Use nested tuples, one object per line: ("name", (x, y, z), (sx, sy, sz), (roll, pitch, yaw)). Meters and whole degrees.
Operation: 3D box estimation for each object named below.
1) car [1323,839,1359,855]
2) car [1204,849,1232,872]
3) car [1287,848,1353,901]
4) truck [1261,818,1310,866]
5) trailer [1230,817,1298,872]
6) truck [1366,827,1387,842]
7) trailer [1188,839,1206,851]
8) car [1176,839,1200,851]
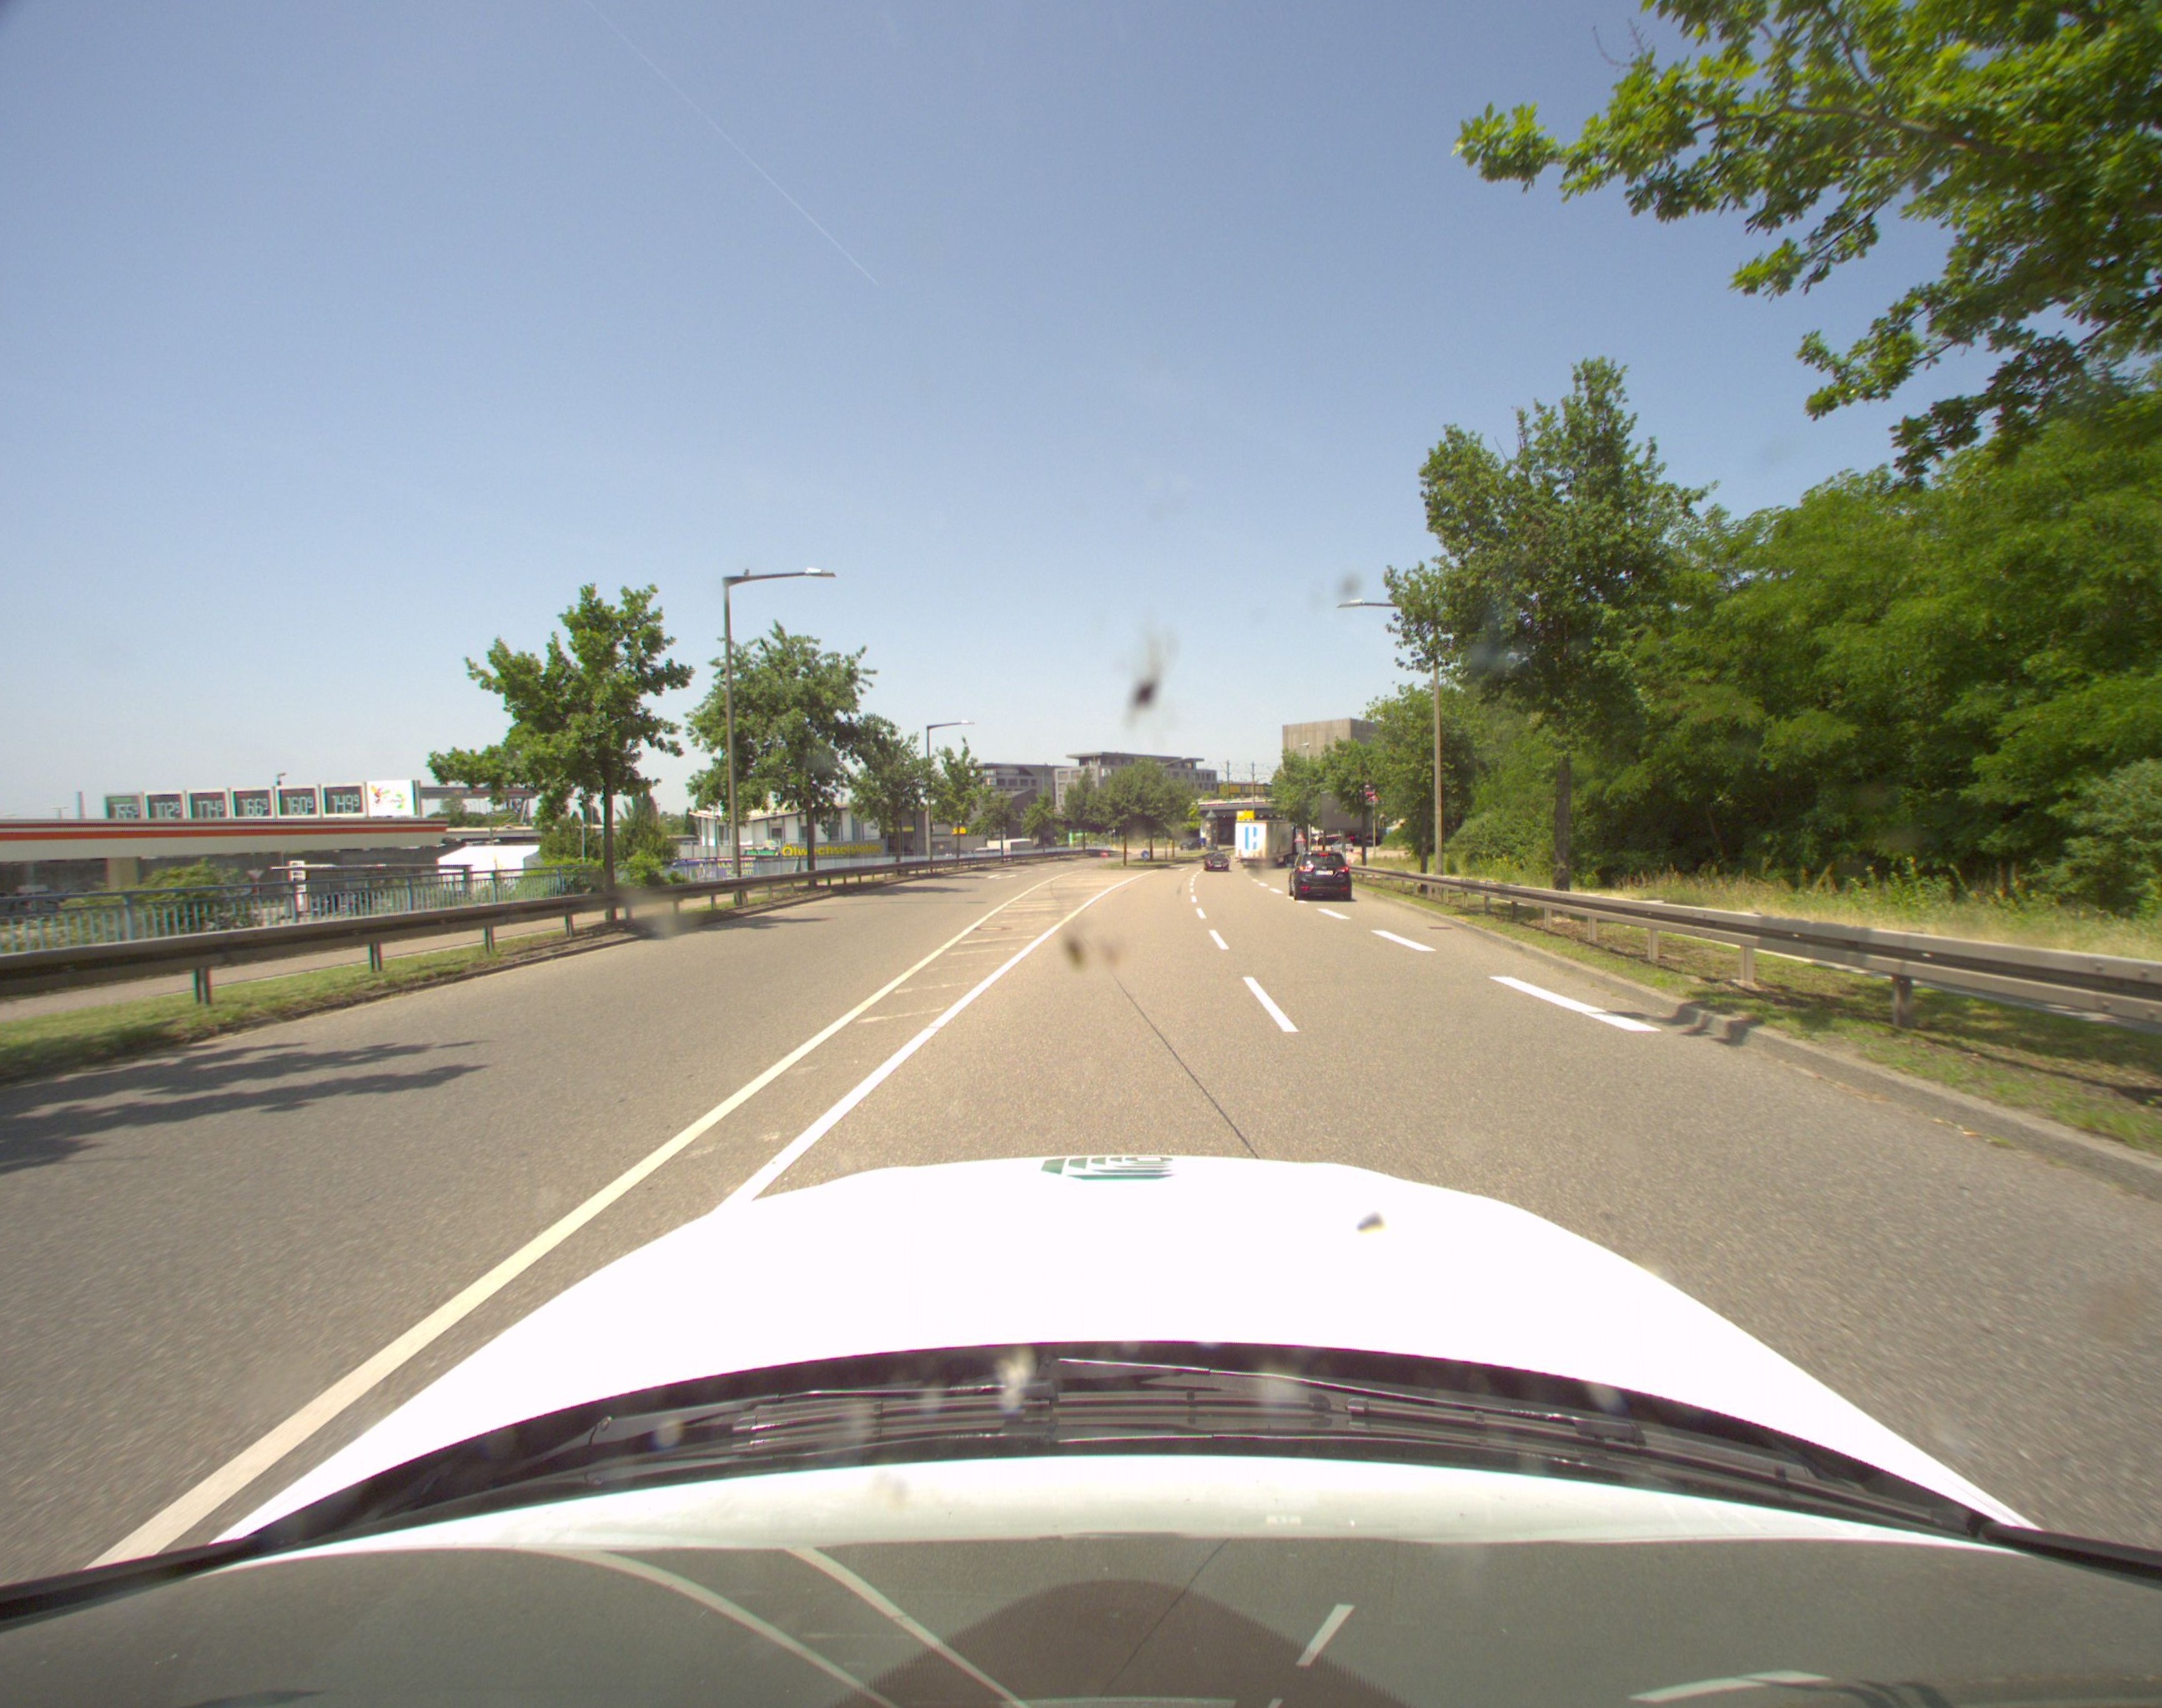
("car", (33.749, -0.859, 105.612), (2.011, 2.013, 3.951), (-1, 0, -43))
("car", (10.178, 0.456, 60.485), (1.944, 1.633, 4.292), (-2, 0, 10))
("car", (7.803, 0.629, 26.890), (1.755, 1.599, 4.091), (0, 0, 12))
("truck", (20.088, -1.206, 79.896), (3.047, 4.367, 6.116), (3, 3, 29))
("trailer", (16.610, -0.981, 72.720), (3.051, 4.367, 14.857), (3, 2, 23))
("truck", (52.005, -3.431, 143.267), (2.048, 2.537, 4.025), (-1, 1, 42))
("trailer", (17.185, -1.364, 120.346), (1.490, 1.615, 3.329), (-3, -1, 29))
("car", (15.379, -1.304, 116.882), (1.896, 1.652, 4.435), (-3, 0, 29))
